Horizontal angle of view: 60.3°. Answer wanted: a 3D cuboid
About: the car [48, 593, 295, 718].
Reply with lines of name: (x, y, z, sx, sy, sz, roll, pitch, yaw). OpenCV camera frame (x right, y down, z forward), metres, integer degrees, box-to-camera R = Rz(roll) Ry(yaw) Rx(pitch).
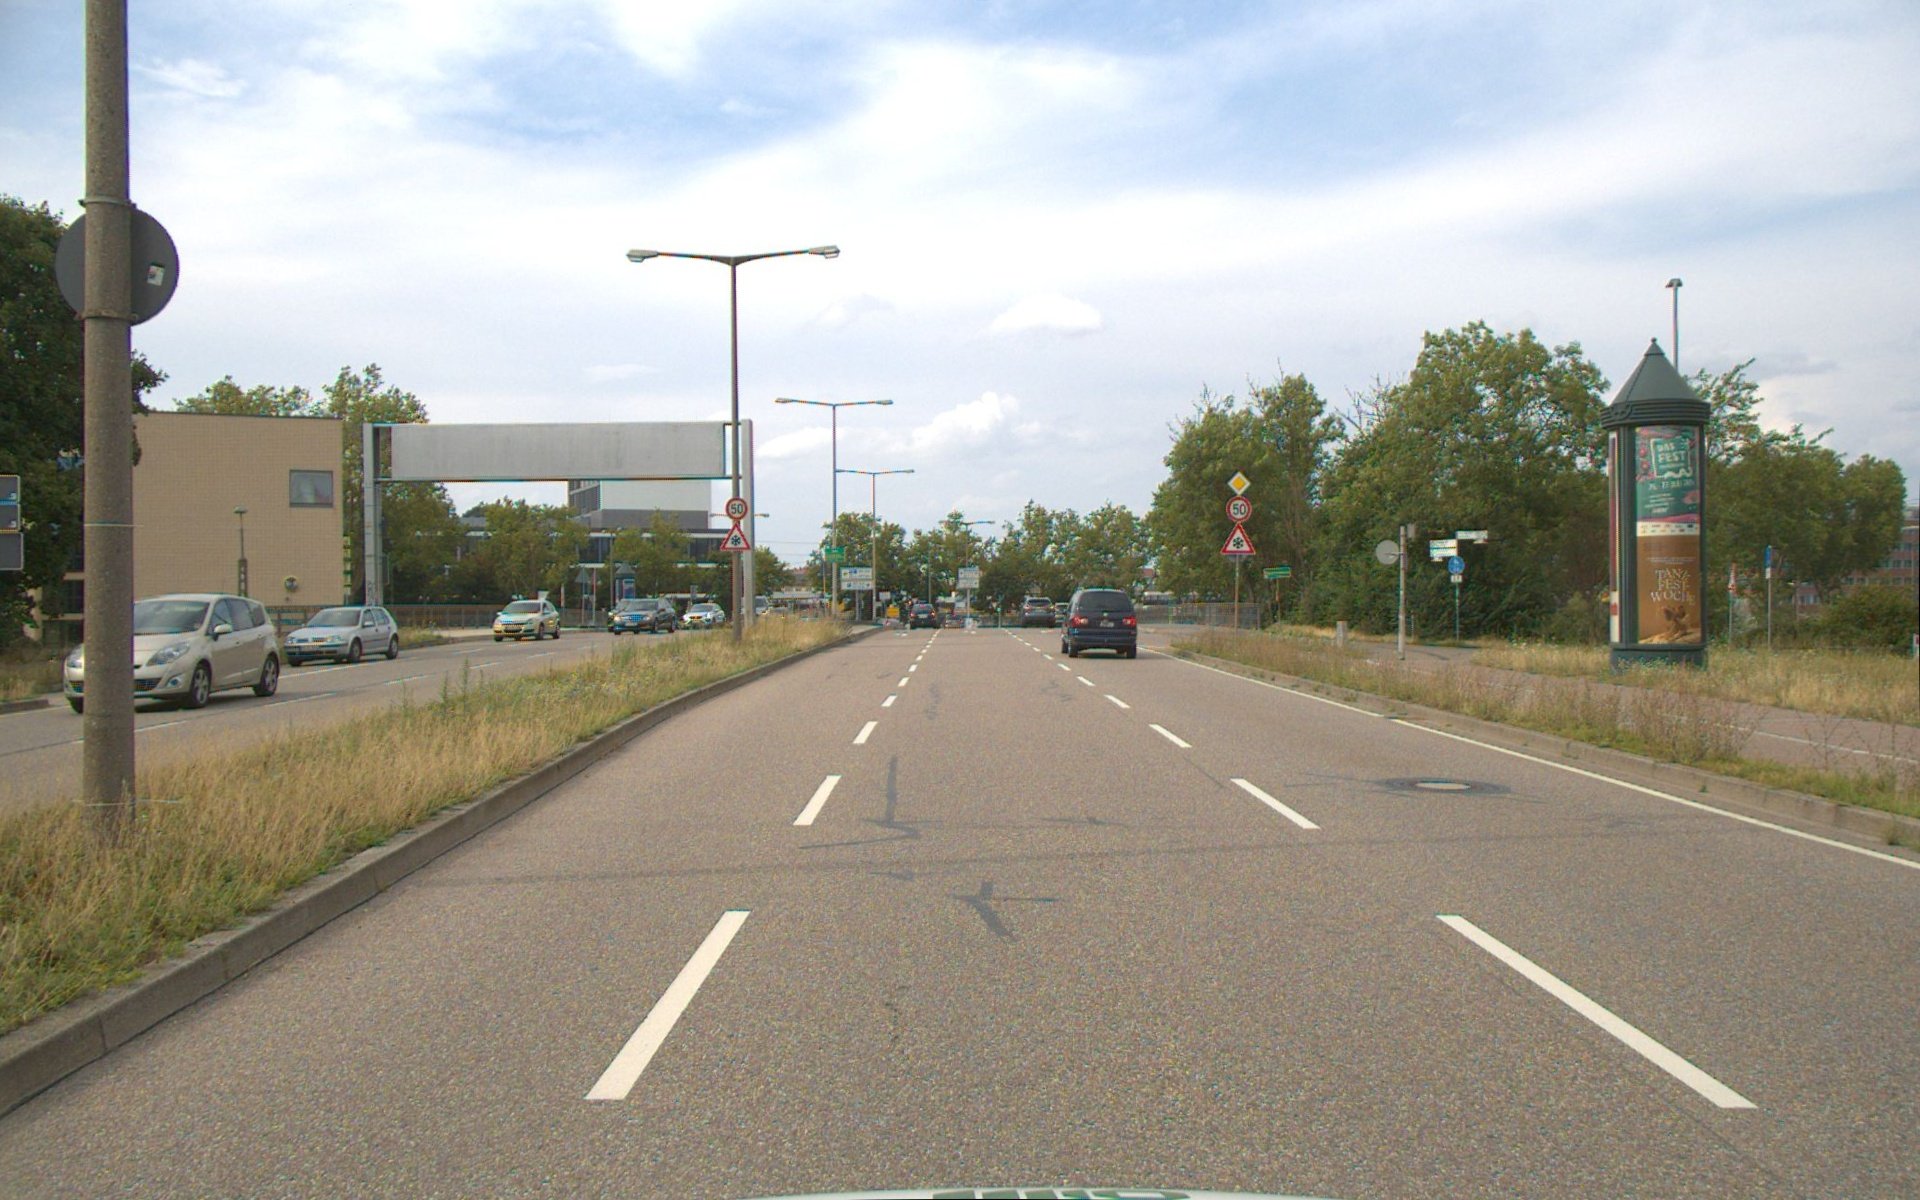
car: (-11.703, 0.755, 24.901, 1.710, 1.626, 4.562, -2, 1, -3)

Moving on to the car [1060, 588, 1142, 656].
car: (3.631, 0.531, 43.086, 1.695, 1.682, 4.114, 0, 0, -1)

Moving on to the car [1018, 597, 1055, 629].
car: (4.074, 0.673, 88.848, 1.695, 1.682, 4.114, 0, 0, -1)

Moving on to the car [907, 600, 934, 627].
car: (-2.540, 0.869, 106.679, 1.695, 1.682, 4.114, 0, 0, -1)

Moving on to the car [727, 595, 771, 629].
car: (-9.689, 0.539, 76.140, 1.660, 1.512, 3.859, 0, 0, -2)

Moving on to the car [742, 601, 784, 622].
car: (-11.389, 0.670, 95.713, 1.953, 1.087, 4.000, 1, 1, -1)

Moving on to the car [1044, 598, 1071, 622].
car: (6.399, 0.654, 108.481, 1.476, 1.472, 3.139, 1, 1, -2)

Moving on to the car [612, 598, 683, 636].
car: (-12.929, 0.689, 68.672, 1.630, 1.450, 4.522, -2, -1, 6)

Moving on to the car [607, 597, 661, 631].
car: (-15.988, 0.703, 81.359, 1.756, 1.551, 4.593, -2, -1, -1)

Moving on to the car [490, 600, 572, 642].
car: (-15.809, 0.765, 61.194, 1.631, 1.444, 4.315, -3, 0, 3)

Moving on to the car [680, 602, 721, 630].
car: (-15.433, 0.956, 98.688, 1.756, 1.551, 4.188, -2, -1, -1)

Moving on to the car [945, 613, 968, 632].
car: (-0.349, 1.945, 142.968, 1.696, 1.553, 4.111, 0, 0, -4)

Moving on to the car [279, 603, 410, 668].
car: (-15.959, 0.885, 43.101, 1.631, 1.443, 4.095, -2, 2, 4)
